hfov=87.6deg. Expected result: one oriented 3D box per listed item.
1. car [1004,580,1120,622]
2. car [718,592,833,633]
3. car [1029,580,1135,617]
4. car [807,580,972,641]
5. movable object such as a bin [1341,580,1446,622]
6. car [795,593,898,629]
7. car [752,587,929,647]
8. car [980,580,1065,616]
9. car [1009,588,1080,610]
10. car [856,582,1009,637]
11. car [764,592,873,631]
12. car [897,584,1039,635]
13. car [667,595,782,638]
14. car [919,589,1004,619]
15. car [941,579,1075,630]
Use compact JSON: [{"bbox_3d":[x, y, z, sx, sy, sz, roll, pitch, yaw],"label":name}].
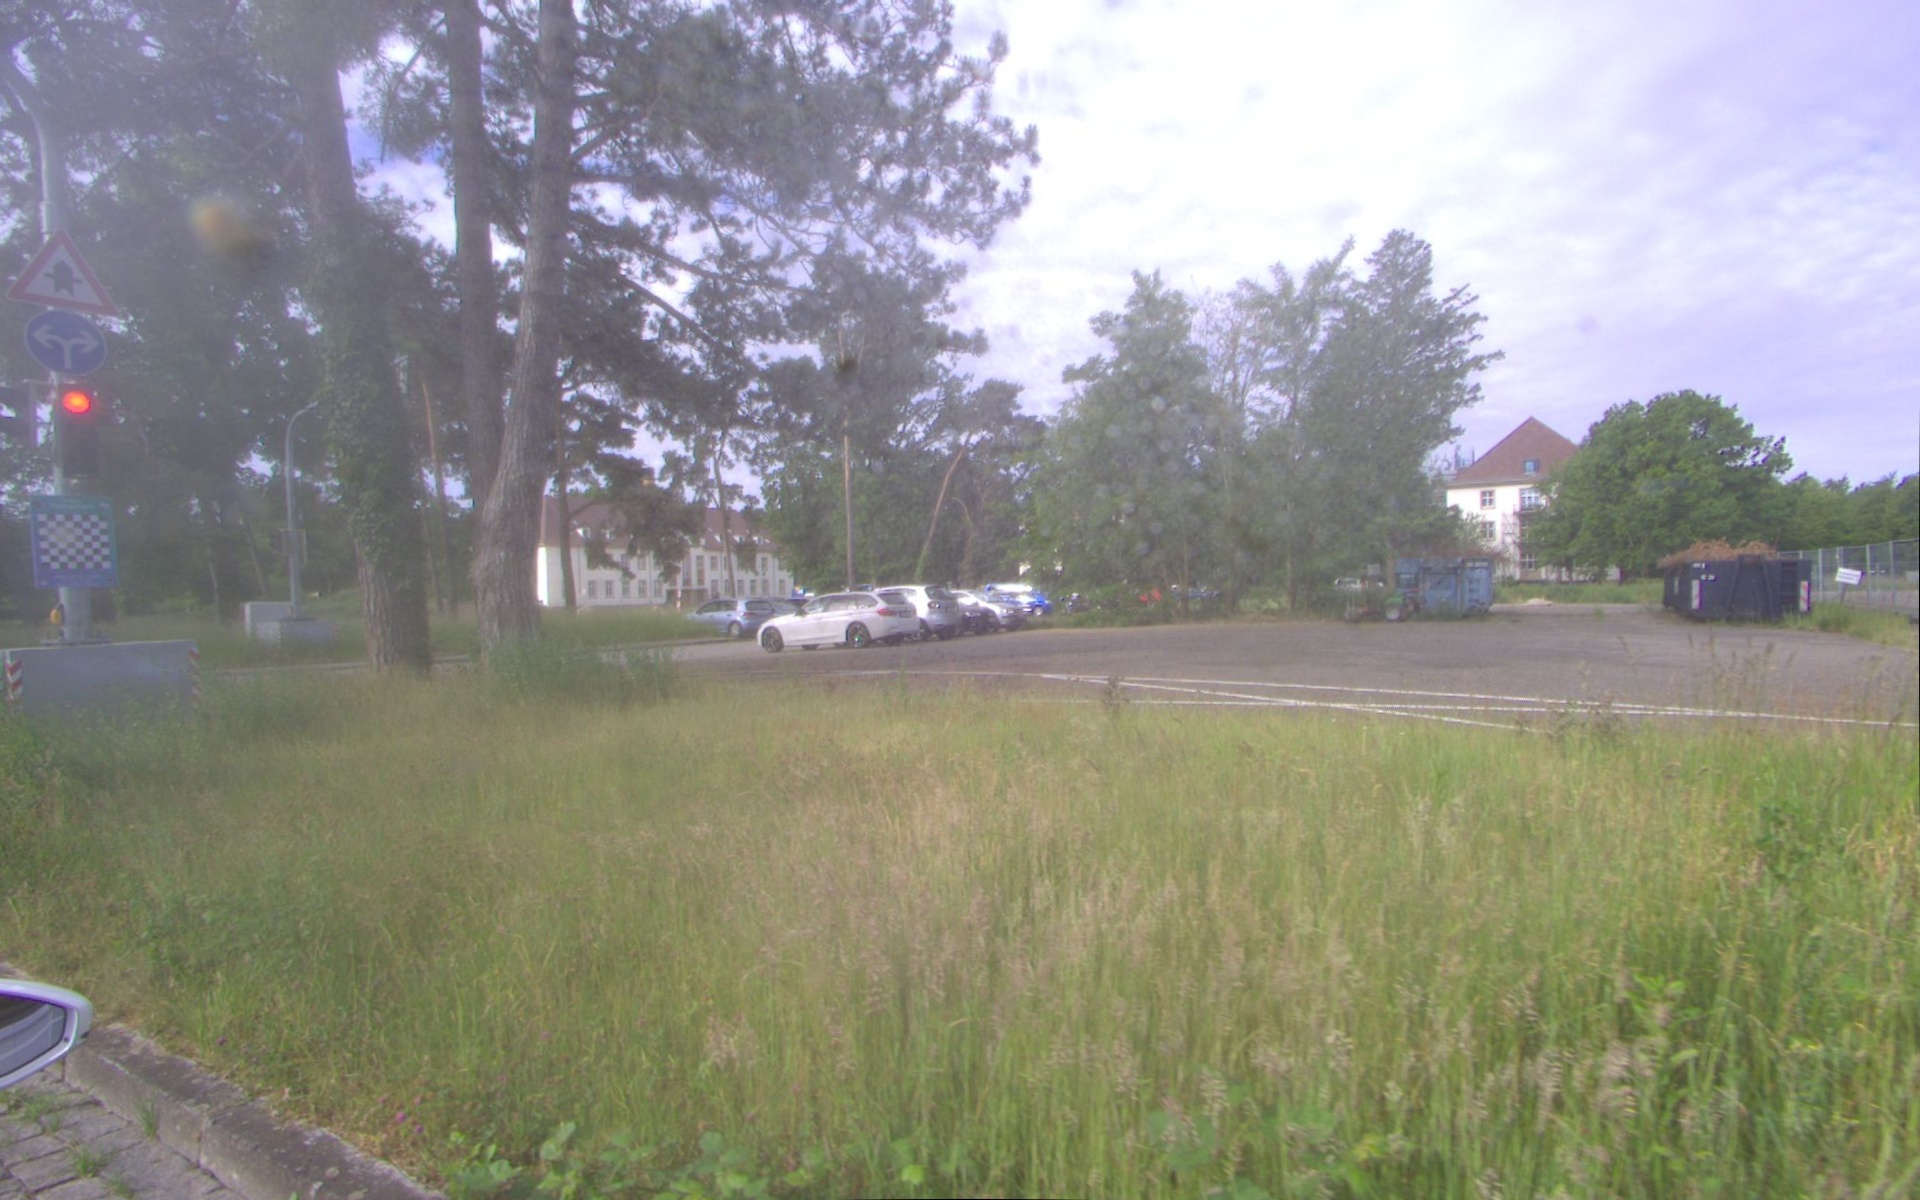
[{"bbox_3d":[4.200,0.048,41.400,4.380,1.598,1.864,-1,1,29],"label":"car"},{"bbox_3d":[-7.436,0.511,40.253,4.379,1.545,1.750,-1,1,28],"label":"car"},{"bbox_3d":[5.529,-0.068,45.377,4.380,1.598,1.864,-1,1,29],"label":"car"},{"bbox_3d":[-2.023,0.302,28.464,4.380,1.598,1.864,-1,1,29],"label":"car"},{"bbox_3d":[11.786,0.001,27.258,2.505,1.098,1.060,1,2,31],"label":"movable object such as a bin"},{"bbox_3d":[-5.132,0.493,45.058,4.380,1.545,1.750,-1,1,29],"label":"car"},{"bbox_3d":[-3.141,0.456,26.124,4.380,1.434,1.750,-2,1,29],"label":"car"},{"bbox_3d":[3.593,-0.125,58.007,4.586,1.994,1.750,-1,1,29],"label":"car"},{"bbox_3d":[5.052,-0.060,60.315,3.941,1.226,1.654,-1,1,31],"label":"car"},{"bbox_3d":[-0.881,0.287,30.943,4.380,1.598,1.864,-1,1,29],"label":"car"},{"bbox_3d":[-6.014,0.481,42.498,4.380,1.545,1.750,-1,1,29],"label":"car"},{"bbox_3d":[0.265,0.328,33.479,4.380,1.598,1.864,-1,1,29],"label":"car"},{"bbox_3d":[-9.073,0.621,38.407,4.385,1.545,1.747,-1,1,33],"label":"car"},{"bbox_3d":[0.066,0.220,54.714,4.380,1.545,1.750,-1,1,29],"label":"car"},{"bbox_3d":[1.695,0.155,35.594,4.380,1.709,1.864,-1,1,29],"label":"car"}]
